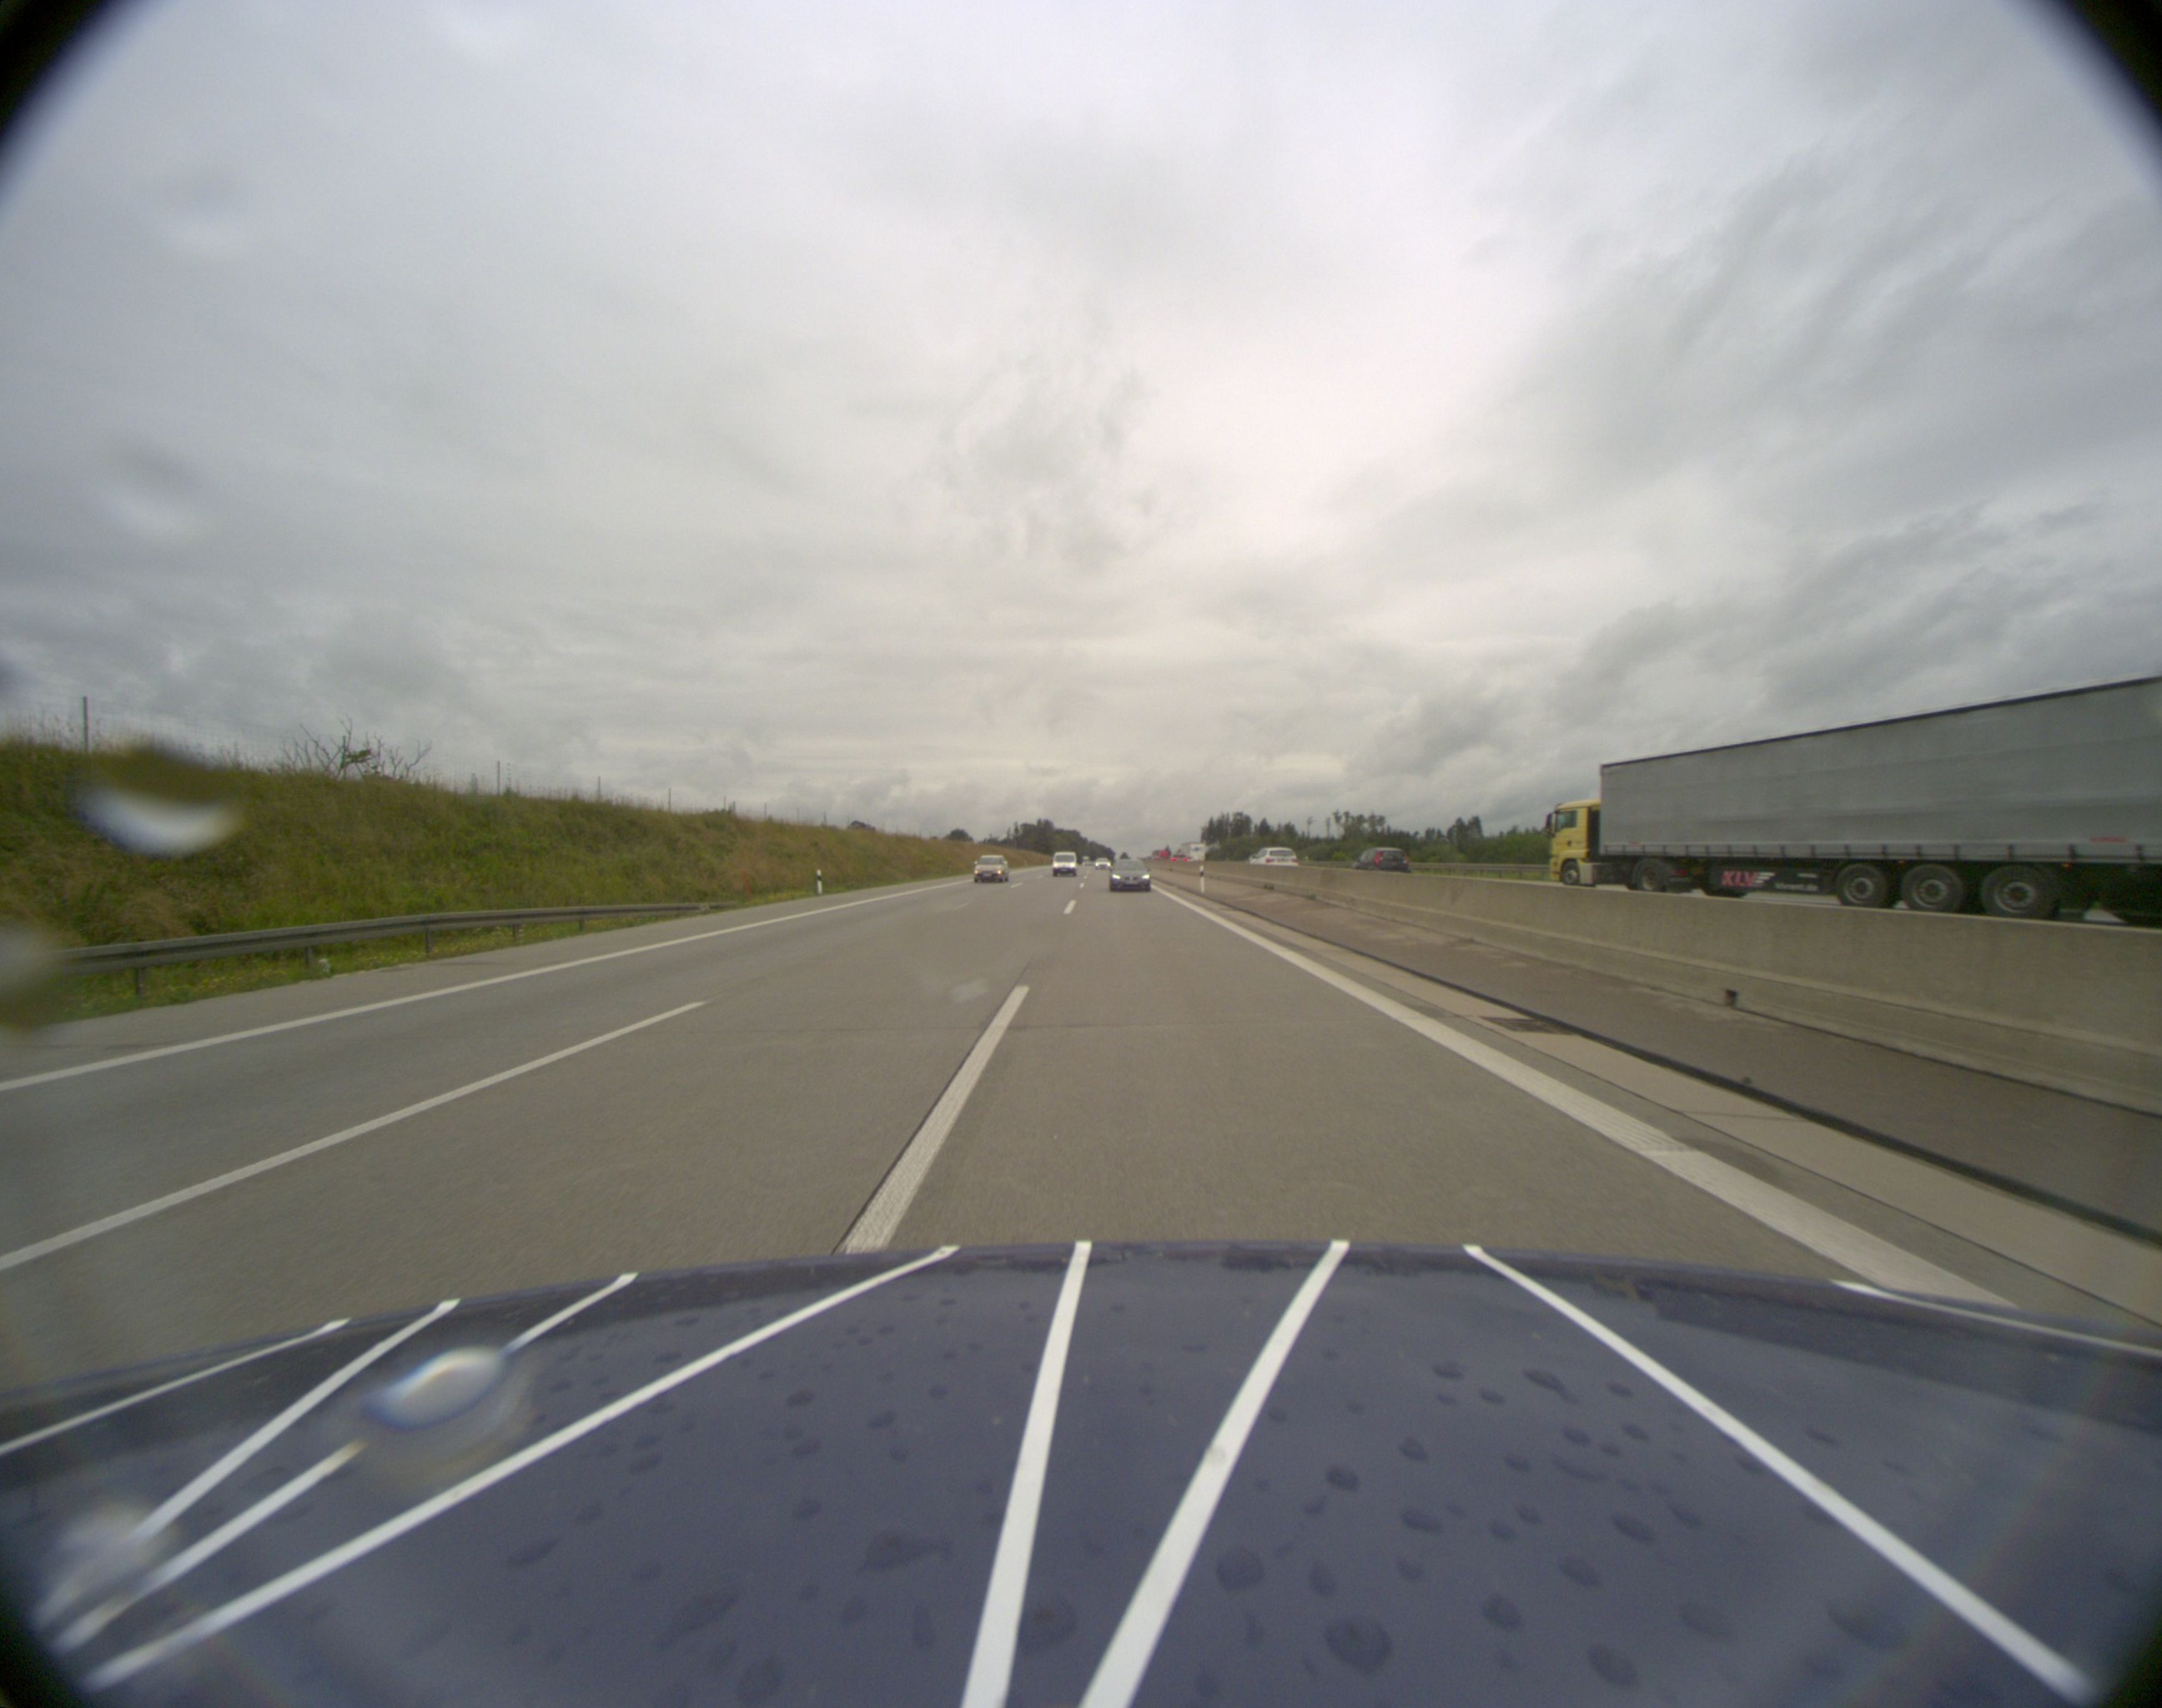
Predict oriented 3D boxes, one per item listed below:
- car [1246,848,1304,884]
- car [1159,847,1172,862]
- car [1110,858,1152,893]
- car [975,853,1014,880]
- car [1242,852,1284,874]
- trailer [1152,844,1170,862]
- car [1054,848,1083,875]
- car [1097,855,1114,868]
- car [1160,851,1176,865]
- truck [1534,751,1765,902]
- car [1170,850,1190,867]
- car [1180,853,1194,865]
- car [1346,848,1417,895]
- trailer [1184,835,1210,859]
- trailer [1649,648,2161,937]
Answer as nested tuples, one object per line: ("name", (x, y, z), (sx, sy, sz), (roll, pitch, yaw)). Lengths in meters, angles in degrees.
("car", (10.376, 0.617, 40.981), (2.039, 1.856, 4.604), (0, 0, 1))
("car", (16.321, 0.076, 146.421), (1.806, 2.941, 5.578), (0, 0, -1))
("car", (2.212, 0.931, 34.574), (1.789, 1.471, 4.572), (0, -1, 2))
("car", (-5.261, 0.769, 46.848), (1.789, 1.595, 4.571), (0, -1, 1))
("car", (14.412, 0.702, 60.463), (2.039, 1.657, 5.268), (0, 0, 0))
("trailer", (21.871, -0.263, 208.867), (3.607, 4.771, 12.910), (0, -1, 1))
("car", (-0.946, 0.603, 61.594), (2.042, 2.111, 6.069), (0, -1, 2))
("car", (3.185, 0.995, 98.263), (2.030, 1.669, 4.321), (0, -1, 4))
("car", (12.700, 0.614, 111.640), (1.806, 2.001, 4.727), (0, -1, 0))
("truck", (17.431, -0.725, 23.910), (2.939, 4.155, 5.858), (0, -1, 1))
("car", (11.509, 0.537, 88.460), (1.692, 2.001, 4.837), (0, -1, 0))
("car", (15.495, 0.736, 111.235), (1.499, 1.738, 4.579), (0, -1, 0))
("car", (13.434, 0.778, 34.232), (1.649, 2.001, 4.000), (0, -1, 0))
("trailer", (20.688, -1.115, 136.614), (2.895, 3.979, 13.016), (0, -1, 1))
("trailer", (17.238, -0.844, 15.341), (2.925, 4.192, 11.875), (0, -1, 1))
